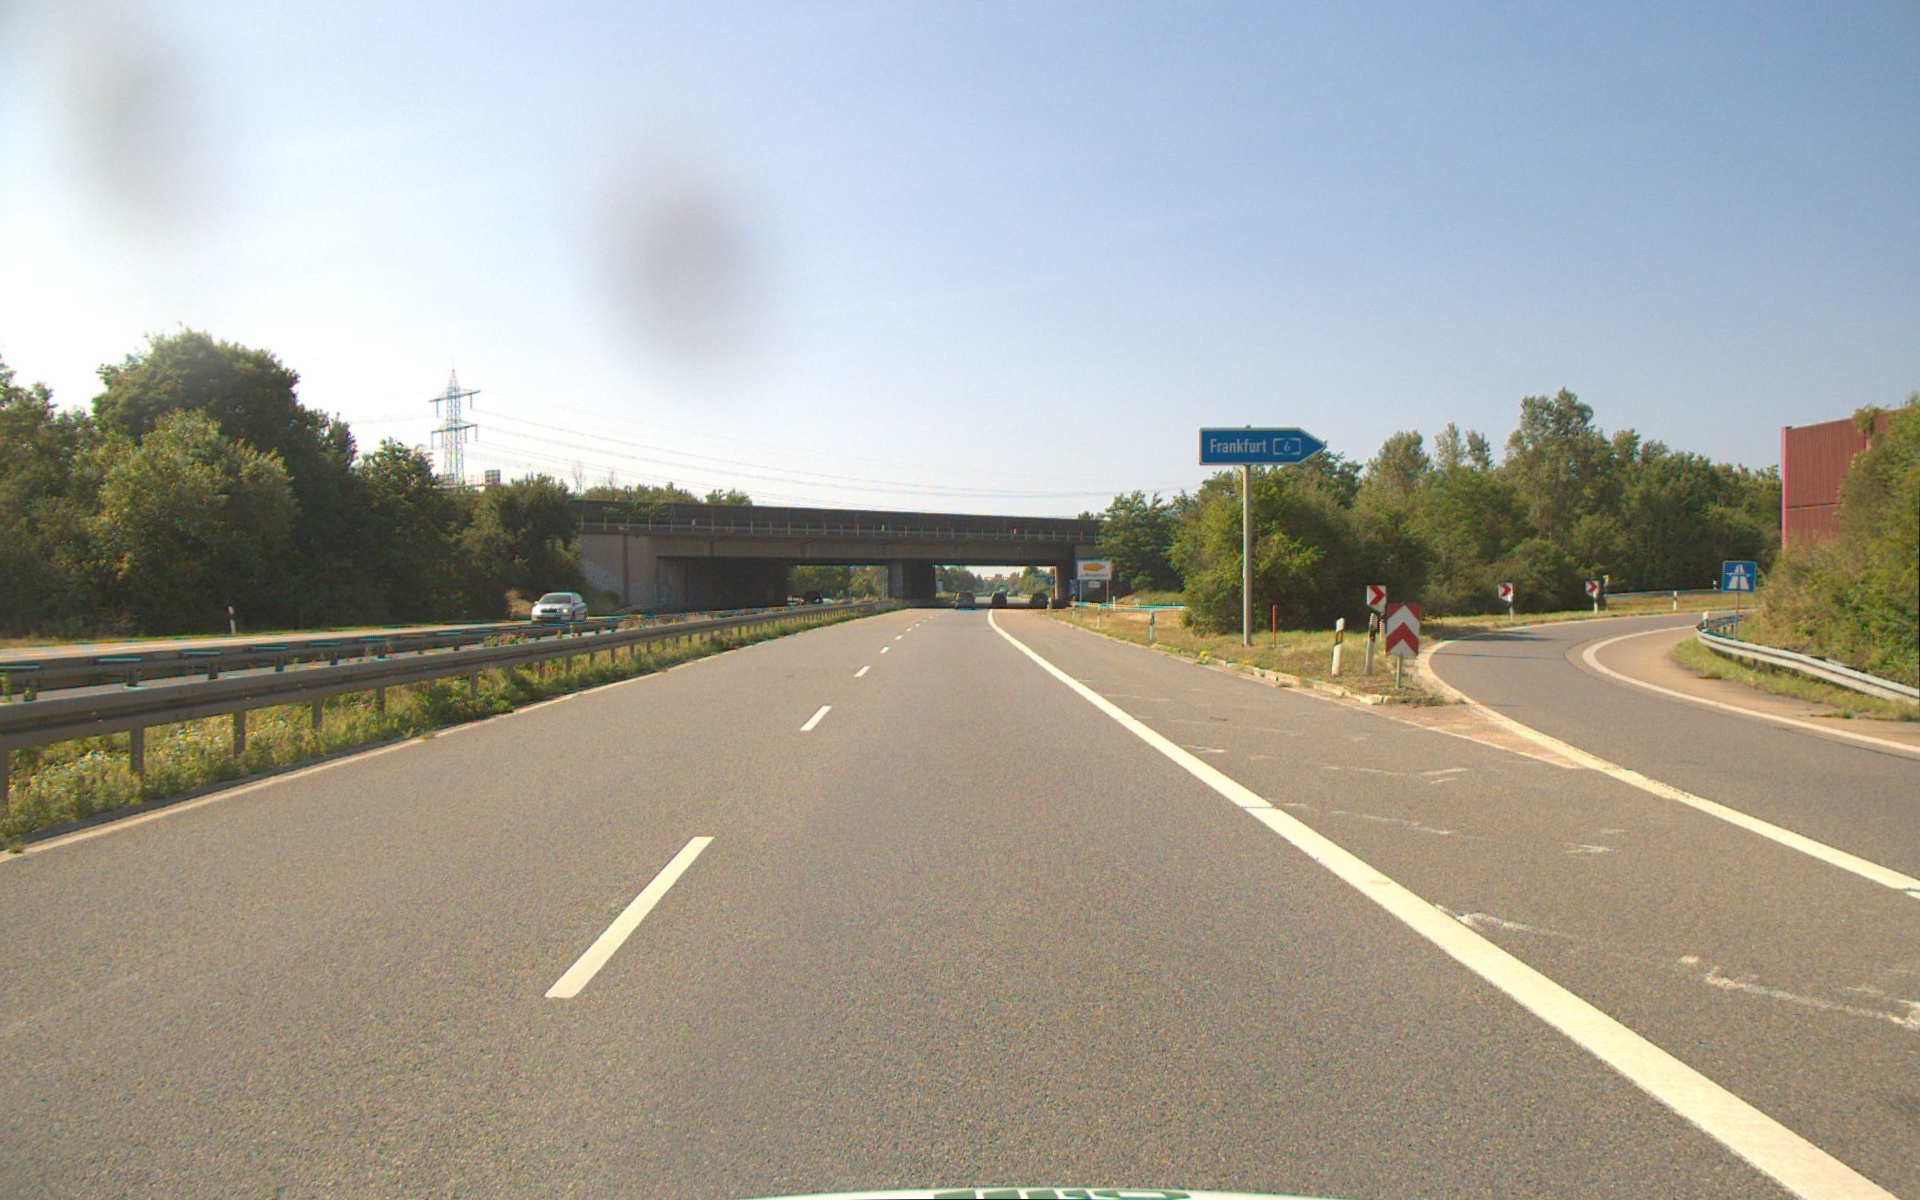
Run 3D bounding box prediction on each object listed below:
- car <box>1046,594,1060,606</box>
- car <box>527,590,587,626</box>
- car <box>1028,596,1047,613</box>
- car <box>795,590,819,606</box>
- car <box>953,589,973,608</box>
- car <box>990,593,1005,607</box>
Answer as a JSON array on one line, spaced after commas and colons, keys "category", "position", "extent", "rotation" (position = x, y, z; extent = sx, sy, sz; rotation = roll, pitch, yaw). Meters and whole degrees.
[{"category": "car", "position": [13.490, 0.044, 239.429], "extent": [1.812, 1.673, 4.000], "rotation": [1, 0, 0]}, {"category": "car", "position": [-17.240, 0.312, 70.897], "extent": [1.640, 1.434, 3.762], "rotation": [1, 1, -1]}, {"category": "car", "position": [7.950, 0.428, 169.444], "extent": [1.812, 1.673, 4.000], "rotation": [1, 0, 0]}, {"category": "car", "position": [-14.712, -0.192, 159.295], "extent": [1.922, 1.434, 3.636], "rotation": [-1, 1, -1]}, {"category": "car", "position": [0.256, -0.140, 150.853], "extent": [1.812, 1.673, 4.000], "rotation": [1, 0, 0]}, {"category": "car", "position": [4.593, 0.019, 202.783], "extent": [1.812, 1.673, 4.000], "rotation": [1, 0, 0]}]
